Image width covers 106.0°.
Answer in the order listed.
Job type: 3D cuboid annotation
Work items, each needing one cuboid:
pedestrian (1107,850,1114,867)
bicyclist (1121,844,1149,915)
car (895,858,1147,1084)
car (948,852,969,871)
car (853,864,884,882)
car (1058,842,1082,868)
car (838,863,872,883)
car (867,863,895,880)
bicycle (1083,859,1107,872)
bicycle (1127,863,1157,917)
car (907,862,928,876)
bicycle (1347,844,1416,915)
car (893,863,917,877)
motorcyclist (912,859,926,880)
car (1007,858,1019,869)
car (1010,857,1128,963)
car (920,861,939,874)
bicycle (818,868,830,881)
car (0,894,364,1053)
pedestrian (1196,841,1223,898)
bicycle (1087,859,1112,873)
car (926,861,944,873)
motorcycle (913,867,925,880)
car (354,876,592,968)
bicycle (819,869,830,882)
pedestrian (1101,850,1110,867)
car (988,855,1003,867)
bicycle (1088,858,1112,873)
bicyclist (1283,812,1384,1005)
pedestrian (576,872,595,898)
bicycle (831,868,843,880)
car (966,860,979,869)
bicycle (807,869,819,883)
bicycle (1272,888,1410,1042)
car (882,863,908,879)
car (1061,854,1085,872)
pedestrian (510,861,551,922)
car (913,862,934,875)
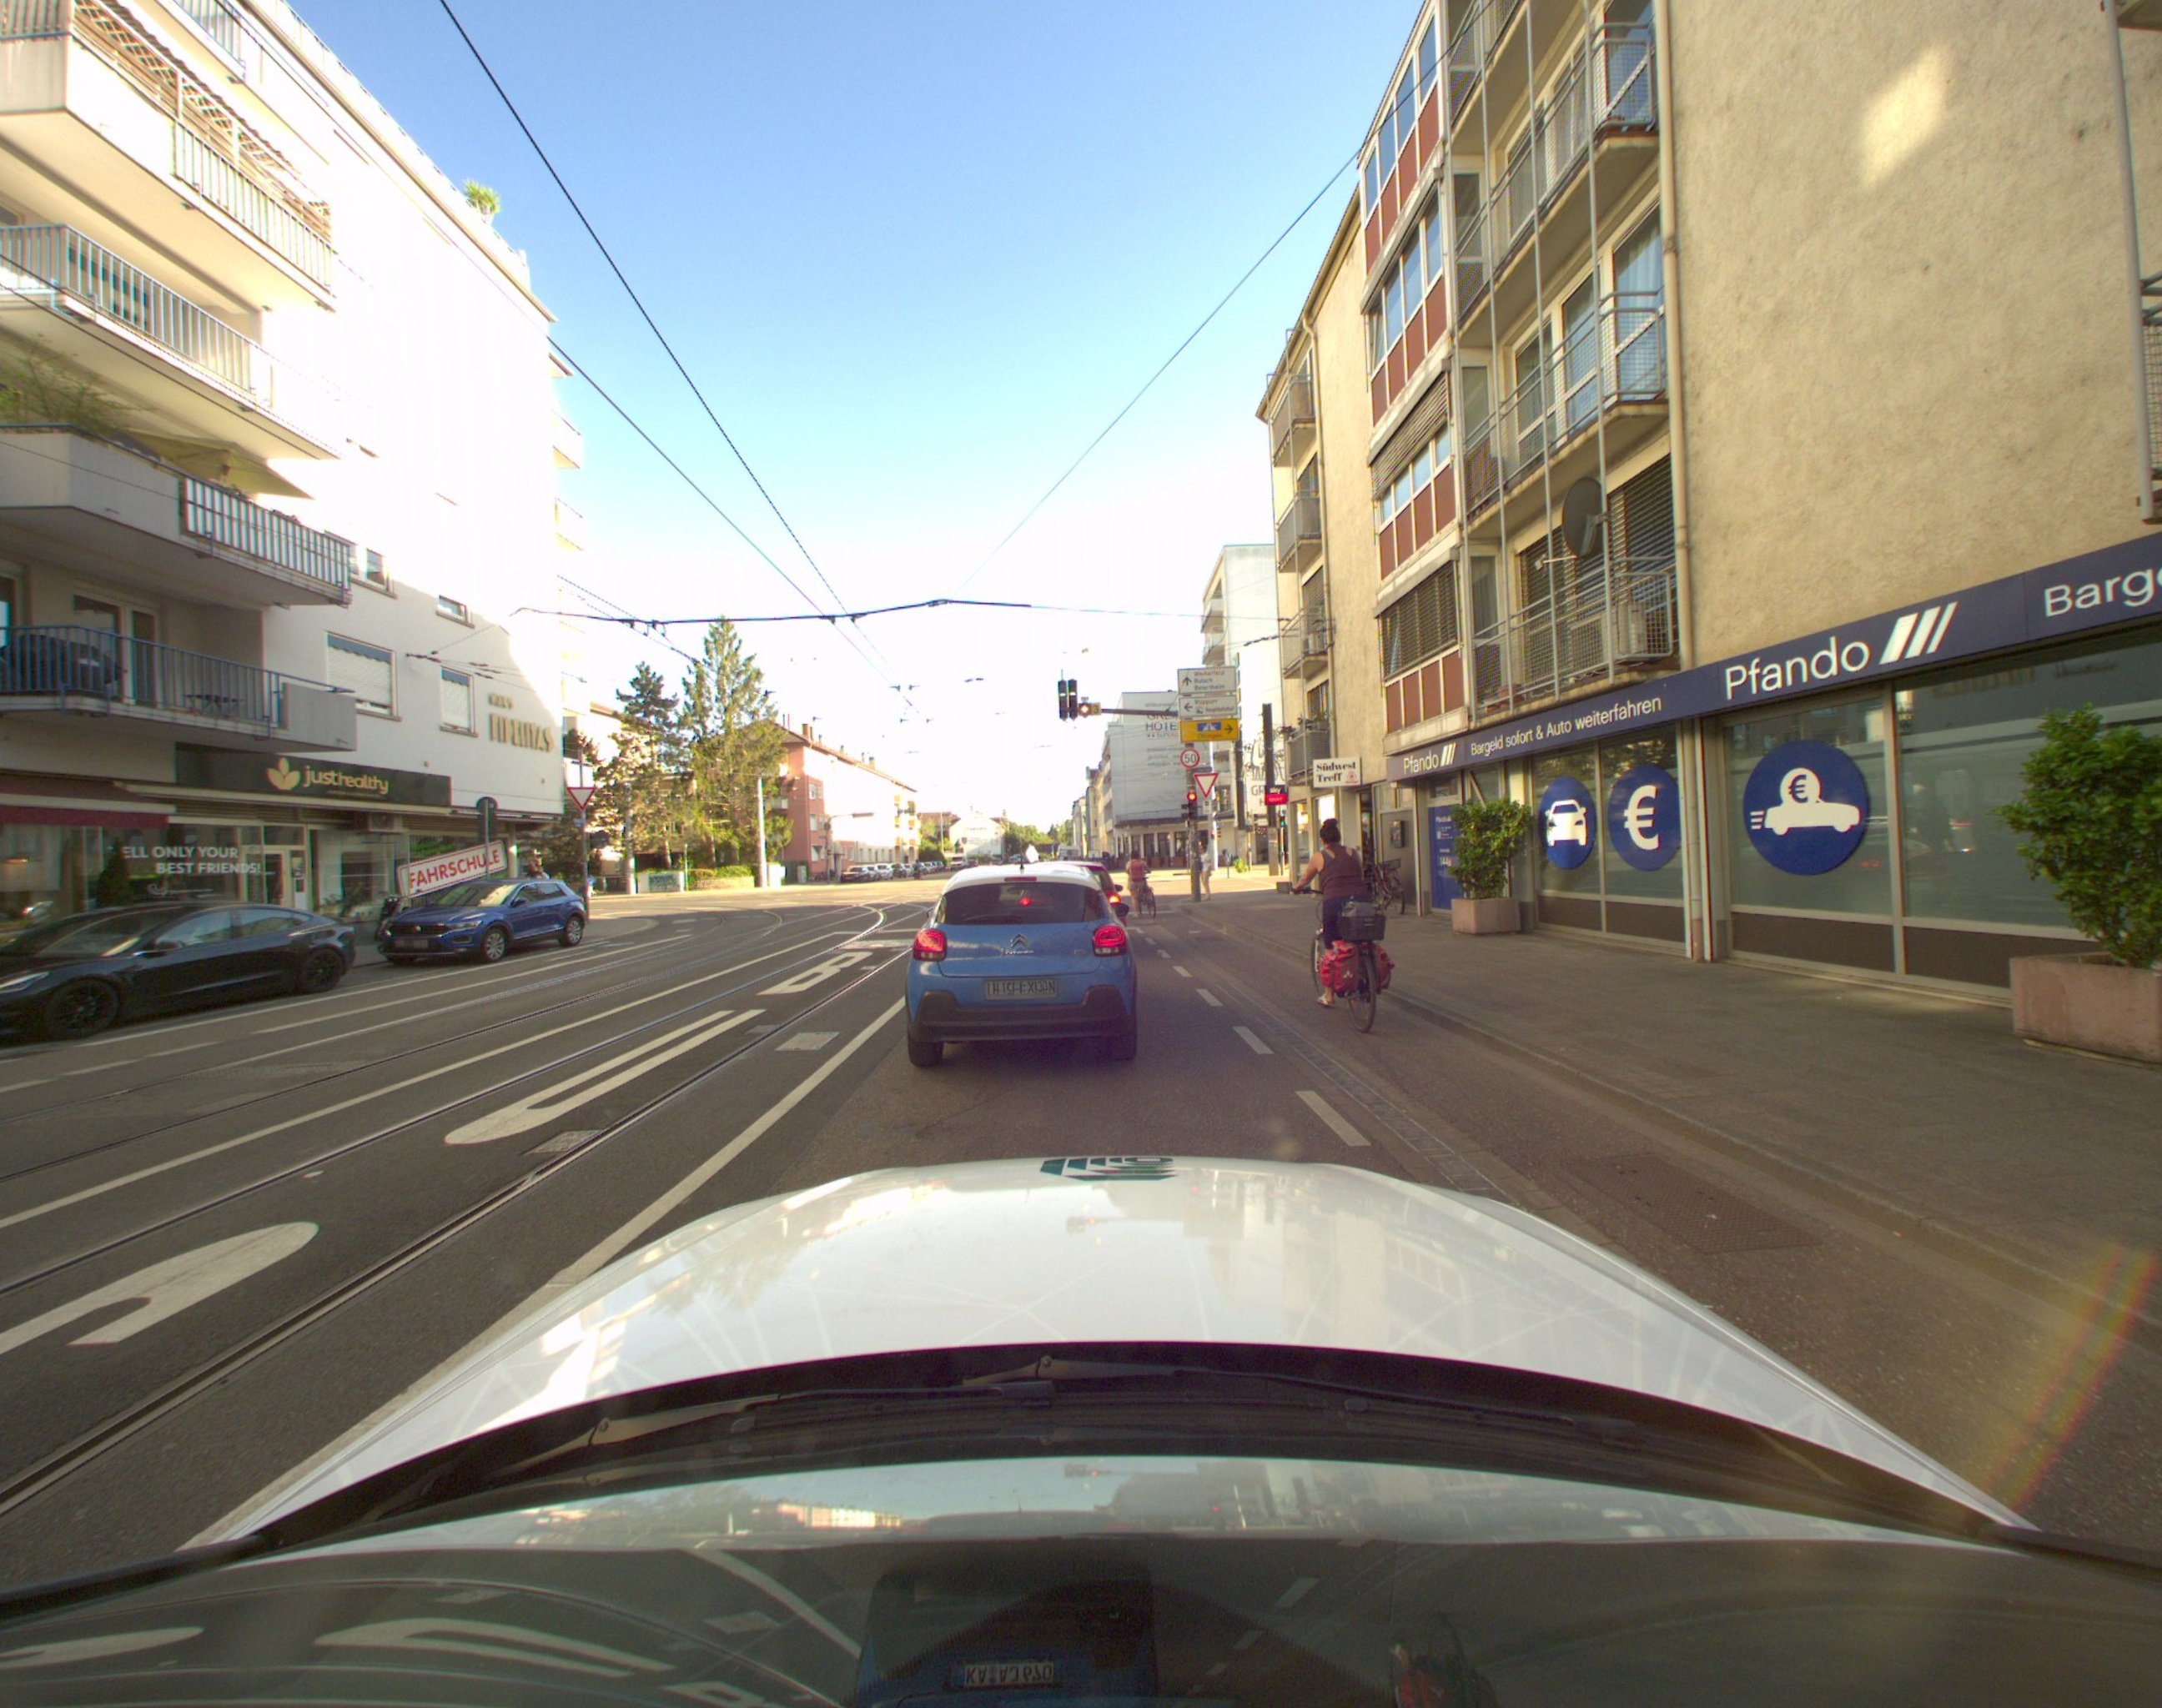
[{"bbox_3d":[2.528,0.382,70.104,0.467,1.420,0.524,-2,0,-11],"label":"pedestrian"},{"bbox_3d":[1.373,0.633,20.680,0.598,1.746,1.084,-2,0,2],"label":"bicyclist"},{"bbox_3d":[-0.448,0.790,7.486,1.675,1.462,3.997,-1,0,-2],"label":"car"},{"bbox_3d":[-18.121,1.109,120.562,2.489,2.712,5.828,-2,0,-5],"label":"car"},{"bbox_3d":[-19.566,1.722,75.230,1.947,1.519,4.040,-2,0,-4],"label":"car"},{"bbox_3d":[-1.034,0.089,73.434,2.074,2.269,5.647,-1,0,-2],"label":"car"},{"bbox_3d":[-19.285,1.605,69.606,1.947,1.519,3.995,-2,0,-4],"label":"car"},{"bbox_3d":[-19.555,1.689,79.842,1.947,1.519,3.995,-2,0,-4],"label":"car"},{"bbox_3d":[1.165,0.955,68.430,1.901,1.064,0.641,-2,0,-6],"label":"bicycle"},{"bbox_3d":[1.537,0.887,20.713,0.611,1.264,1.911,-2,0,2],"label":"bicycle"},{"bbox_3d":[-19.846,1.791,99.012,1.947,1.519,3.995,-2,0,-4],"label":"car"},{"bbox_3d":[5.763,0.456,15.726,0.637,1.264,1.911,-2,0,2],"label":"bicycle"},{"bbox_3d":[-19.976,1.795,92.582,1.947,1.519,3.995,-2,0,-4],"label":"car"},{"bbox_3d":[-13.469,1.273,67.680,0.990,1.631,0.737,-2,0,-7],"label":"motorcyclist"},{"bbox_3d":[-14.259,1.987,171.397,2.333,2.039,5.044,-2,0,-4],"label":"car"},{"bbox_3d":[-0.222,0.810,13.694,1.675,1.462,3.997,-1,0,-2],"label":"car"},{"bbox_3d":[-20.292,1.779,109.314,1.947,1.519,3.995,-2,0,-4],"label":"car"},{"bbox_3d":[-23.045,1.847,73.093,0.536,1.082,1.908,-2,0,-4],"label":"bicycle"},{"bbox_3d":[-11.980,1.332,10.409,1.720,1.403,4.486,0,0,-2],"label":"car"},{"bbox_3d":[3.843,0.453,24.401,0.747,1.635,0.742,-2,0,7],"label":"pedestrian"},{"bbox_3d":[1.530,0.963,67.228,1.901,1.064,0.641,-2,0,-6],"label":"bicycle"},{"bbox_3d":[-20.719,1.858,115.670,1.947,1.519,3.995,-2,0,-4],"label":"car"},{"bbox_3d":[-13.479,1.601,67.747,0.751,0.976,2.092,-2,0,-7],"label":"motorcycle"},{"bbox_3d":[-11.875,1.246,16.312,1.720,1.505,4.113,0,0,-2],"label":"car"},{"bbox_3d":[-21.591,1.798,68.459,0.537,1.082,1.905,-2,0,-9],"label":"bicycle"},{"bbox_3d":[2.108,0.398,70.365,0.520,1.420,0.550,-3,0,22],"label":"pedestrian"},{"bbox_3d":[-12.232,0.963,117.086,2.002,1.627,5.044,-2,0,-5],"label":"car"},{"bbox_3d":[1.521,0.932,65.922,1.901,1.064,0.641,-2,0,-6],"label":"bicycle"},{"bbox_3d":[2.260,0.466,7.358,0.615,1.630,0.760,-2,0,0],"label":"bicyclist"},{"bbox_3d":[-33.762,2.112,55.469,0.807,1.702,0.679,-2,0,-7],"label":"pedestrian"},{"bbox_3d":[-22.711,1.865,75.789,0.608,1.082,1.908,-2,0,-4],"label":"bicycle"},{"bbox_3d":[-19.331,1.823,145.231,1.947,1.519,3.995,-2,0,-4],"label":"car"},{"bbox_3d":[-22.375,1.798,68.064,0.640,1.082,1.905,-2,0,-9],"label":"bicycle"},{"bbox_3d":[2.278,0.916,7.373,0.614,1.103,1.886,-2,0,0],"label":"bicycle"},{"bbox_3d":[-19.724,1.744,86.515,1.947,1.519,3.995,-2,0,-4],"label":"car"},{"bbox_3d":[-0.711,0.744,67.972,1.783,1.359,3.909,-2,0,-4],"label":"car"},{"bbox_3d":[-17.283,1.172,25.582,0.761,1.834,0.725,-3,0,28],"label":"pedestrian"},{"bbox_3d":[-20.092,1.806,104.025,1.947,1.519,3.995,-2,0,-4],"label":"car"}]
